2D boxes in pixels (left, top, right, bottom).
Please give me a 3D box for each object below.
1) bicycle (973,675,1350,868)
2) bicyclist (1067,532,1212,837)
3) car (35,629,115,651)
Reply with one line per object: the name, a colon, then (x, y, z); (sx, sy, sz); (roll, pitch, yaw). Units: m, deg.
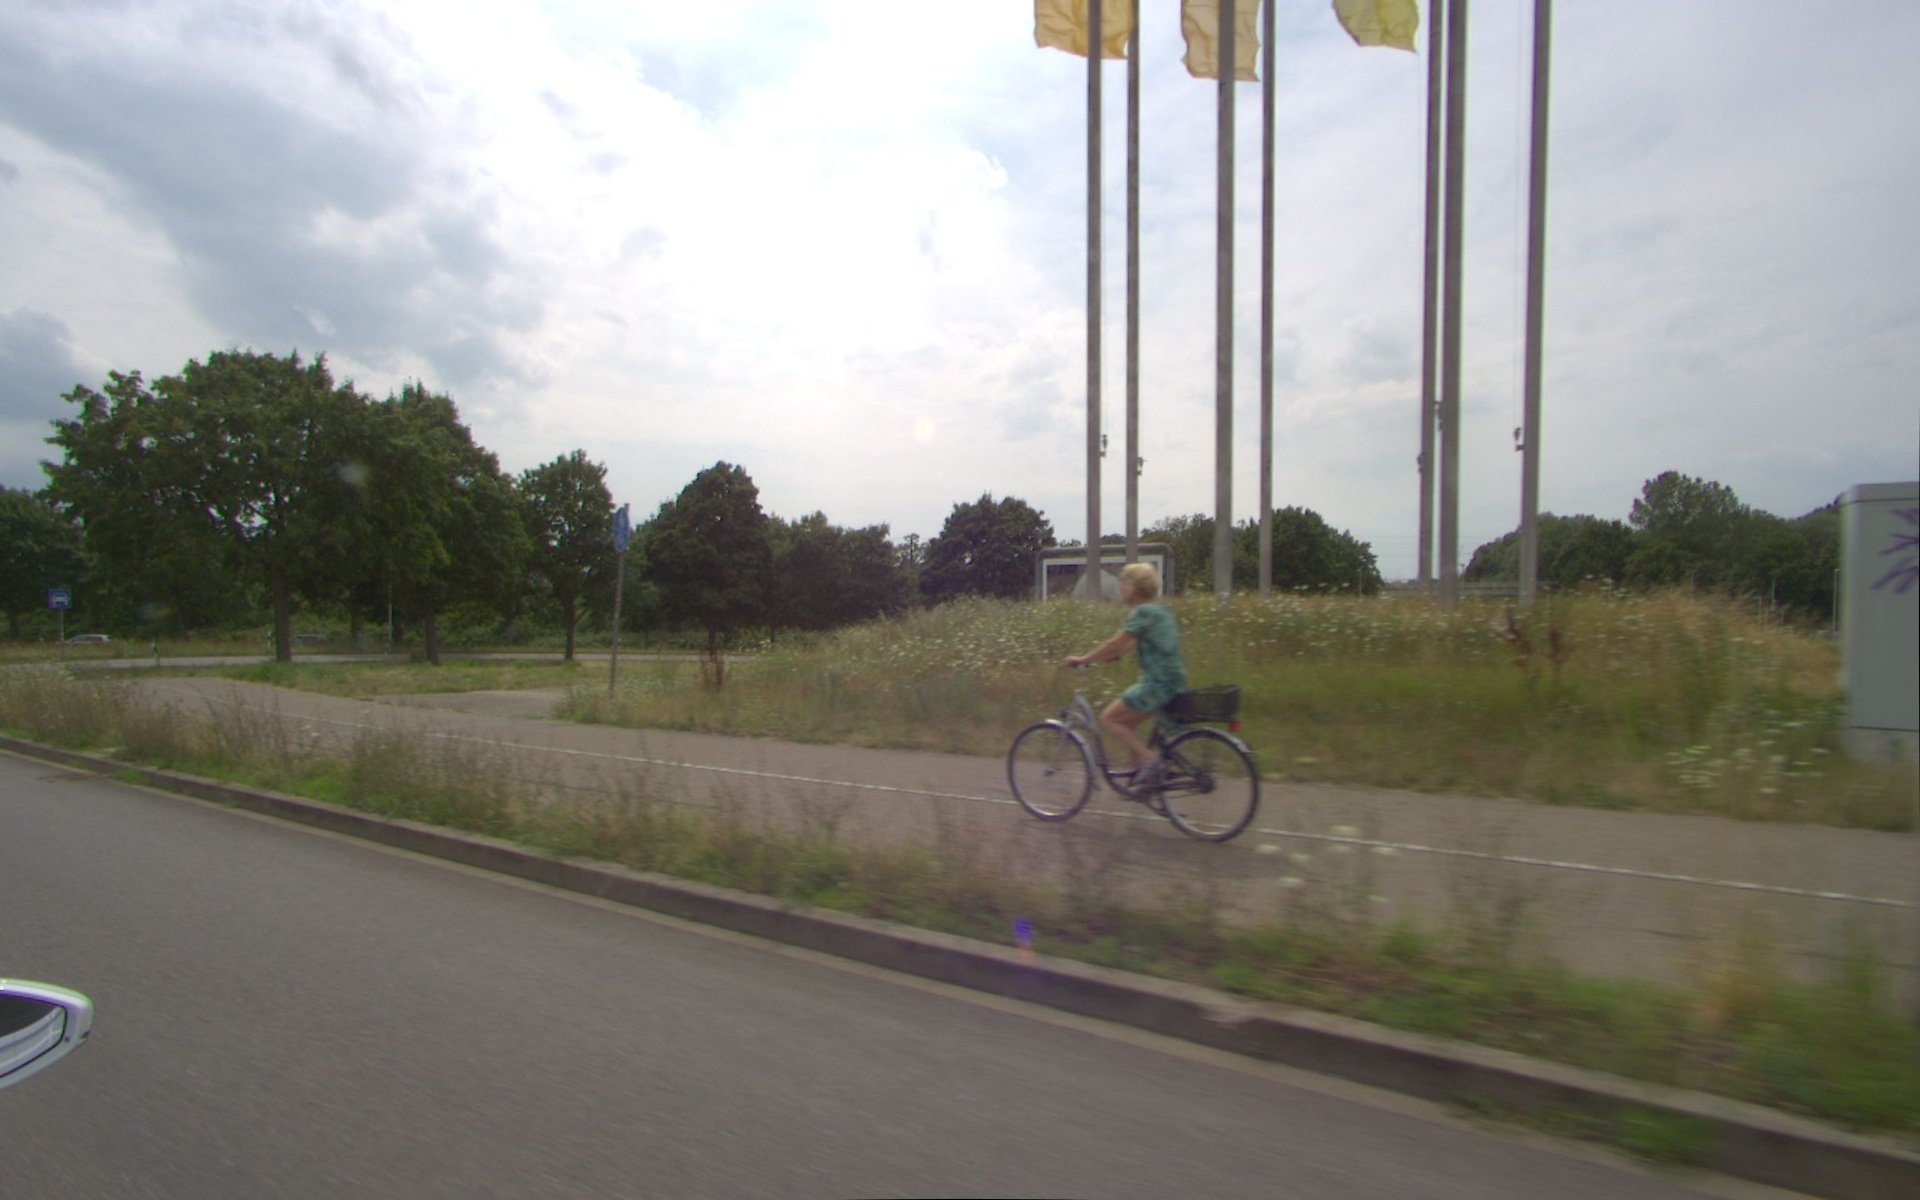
bicycle: (1.143, 0.943, 5.967); (2.124, 0.900, 0.622); (-1, 0, 32)
bicyclist: (1.079, 0.469, 5.989); (0.659, 1.688, 0.620); (1, 1, 32)
car: (-63.786, 2.868, 72.221); (3.929, 1.483, 1.769); (0, 0, -16)
